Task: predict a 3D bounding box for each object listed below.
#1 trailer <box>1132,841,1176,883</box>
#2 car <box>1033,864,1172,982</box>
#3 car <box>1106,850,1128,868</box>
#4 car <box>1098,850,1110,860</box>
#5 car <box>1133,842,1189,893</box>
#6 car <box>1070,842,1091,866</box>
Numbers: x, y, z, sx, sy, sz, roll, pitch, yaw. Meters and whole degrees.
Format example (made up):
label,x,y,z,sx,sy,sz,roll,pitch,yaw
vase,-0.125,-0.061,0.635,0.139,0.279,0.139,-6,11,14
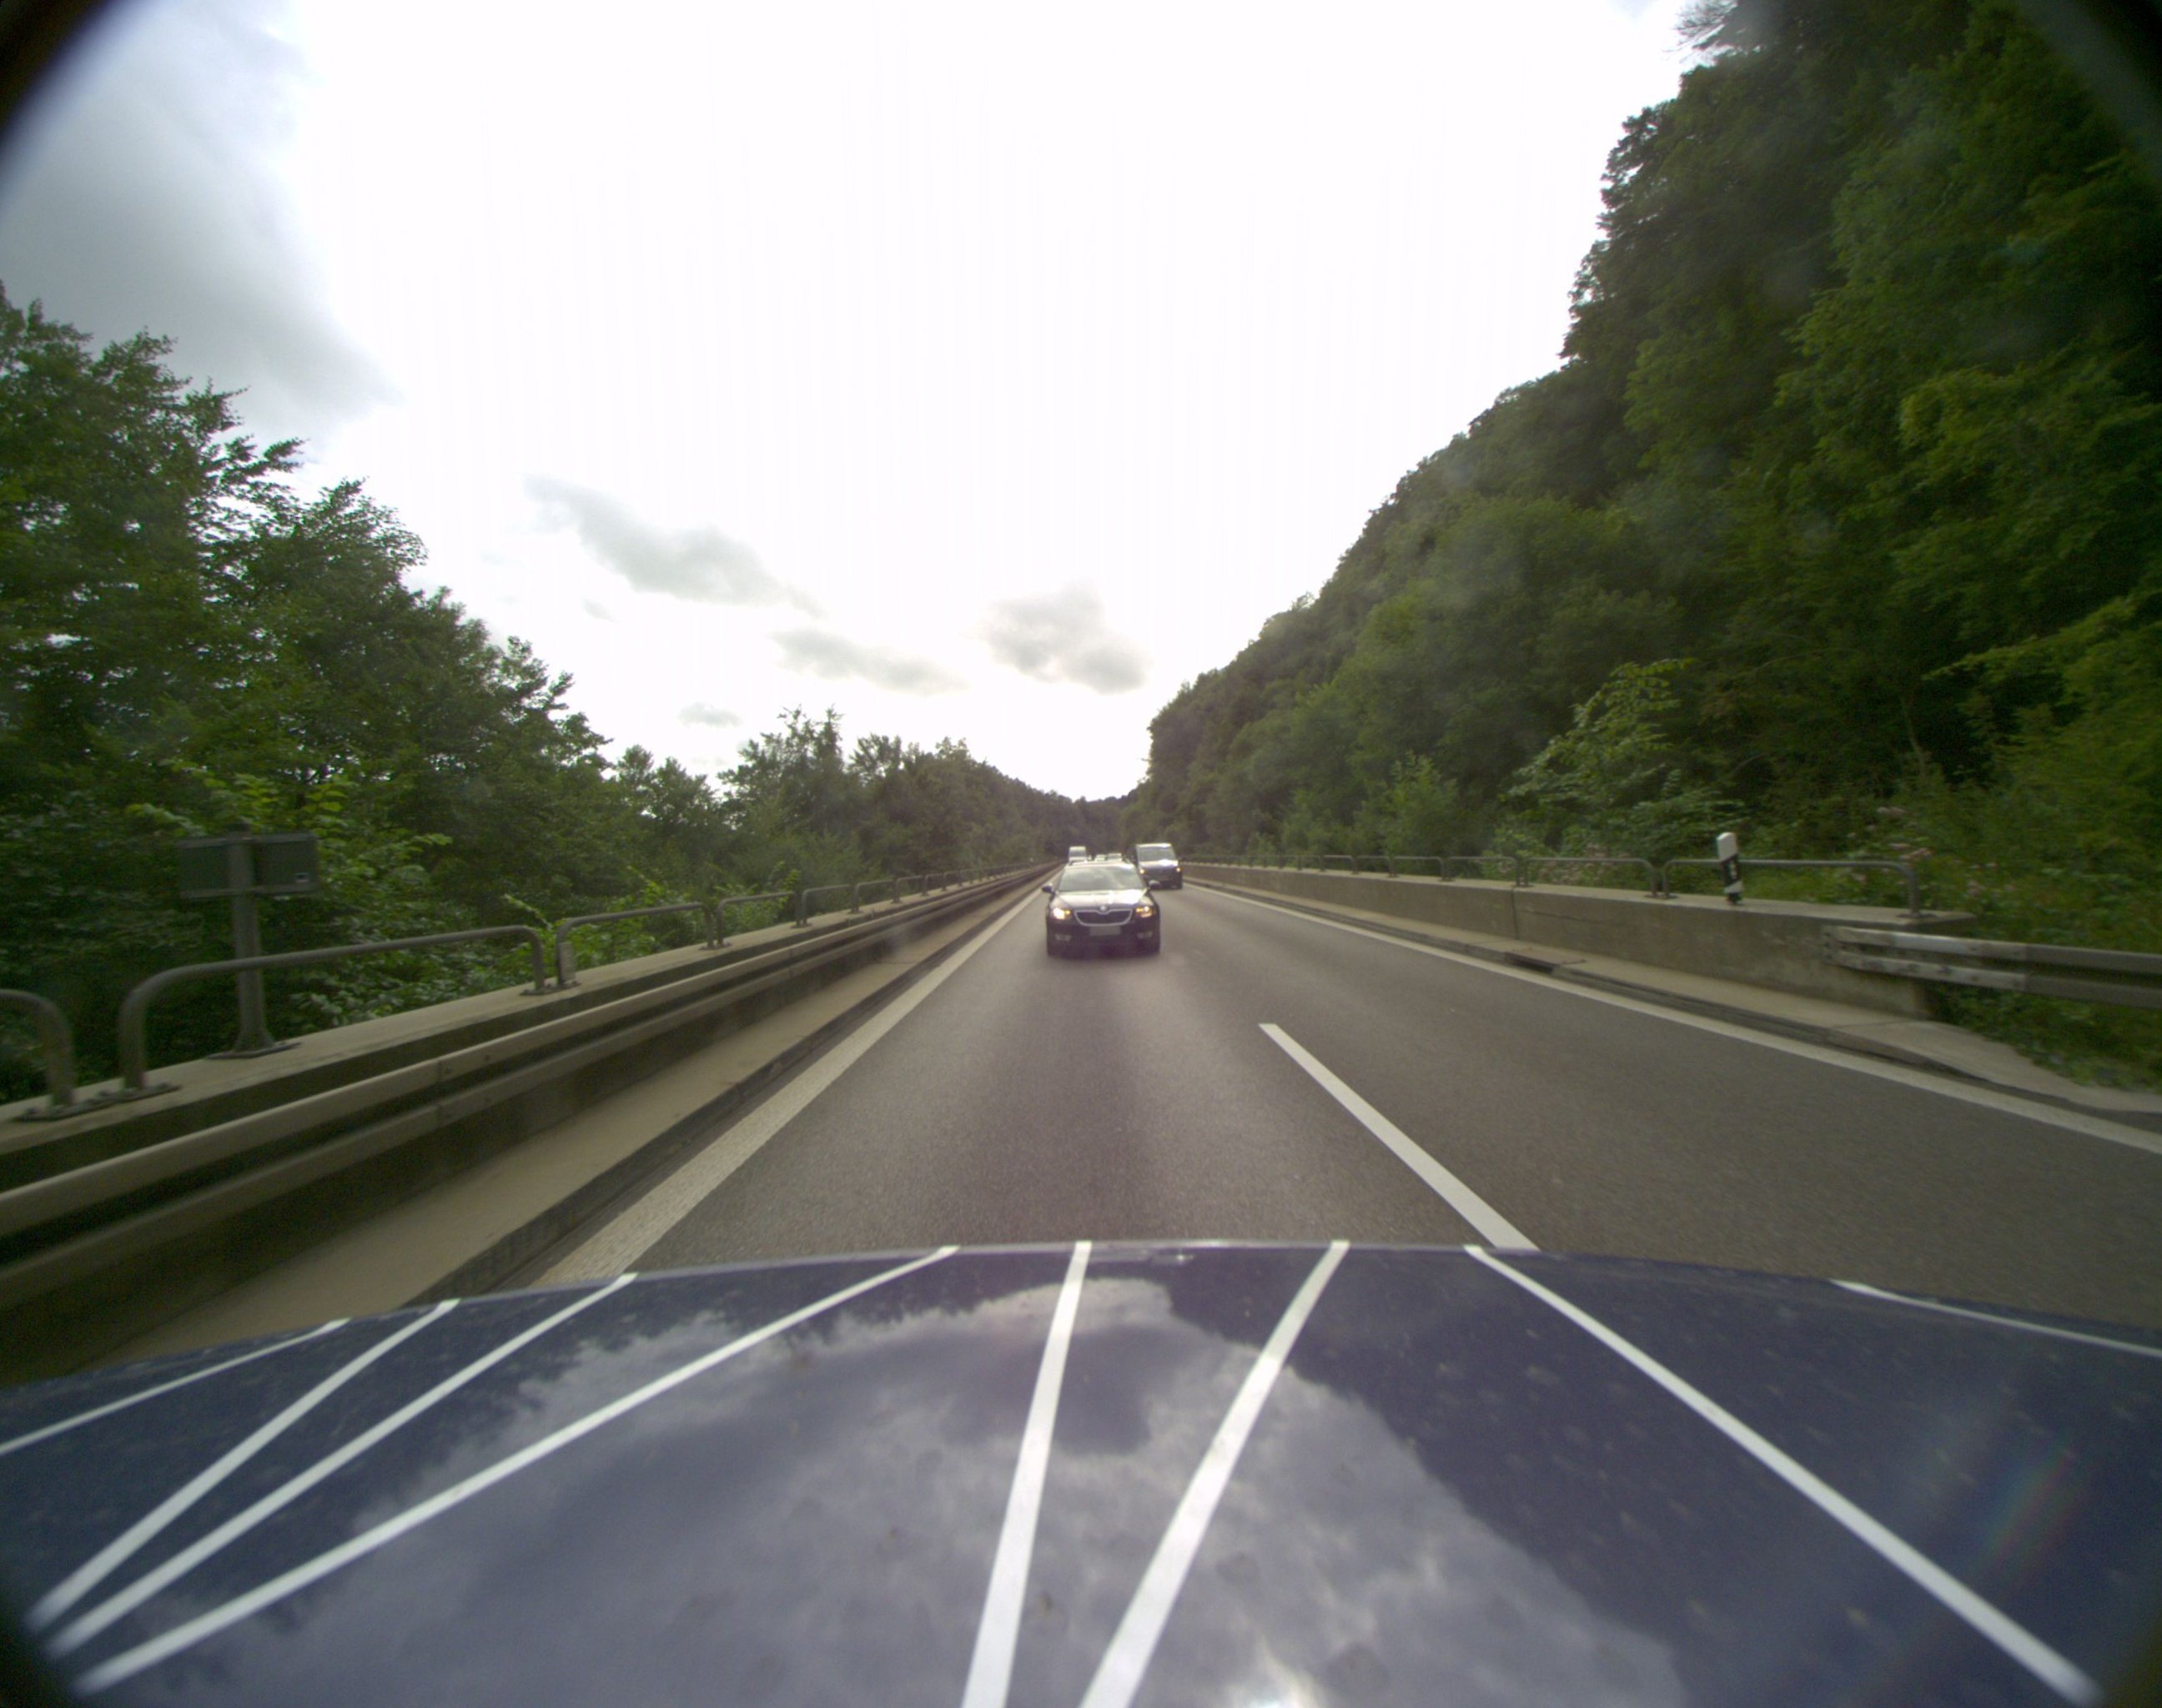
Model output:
label,x,y,z,sx,sy,sz,roll,pitch,yaw
trailer,3.626,0.370,38.180,1.975,1.928,3.431,-4,0,4
car,0.274,0.878,11.498,1.638,1.384,4.499,-2,-1,0
car,3.496,0.437,74.227,1.976,1.584,5.585,-1,1,2
car,3.753,0.226,122.219,1.823,1.546,4.001,1,-1,0
car,3.453,0.536,33.838,1.998,2.002,5.540,-4,0,2
car,-0.017,0.043,84.292,2.099,2.547,5.921,1,-1,1
